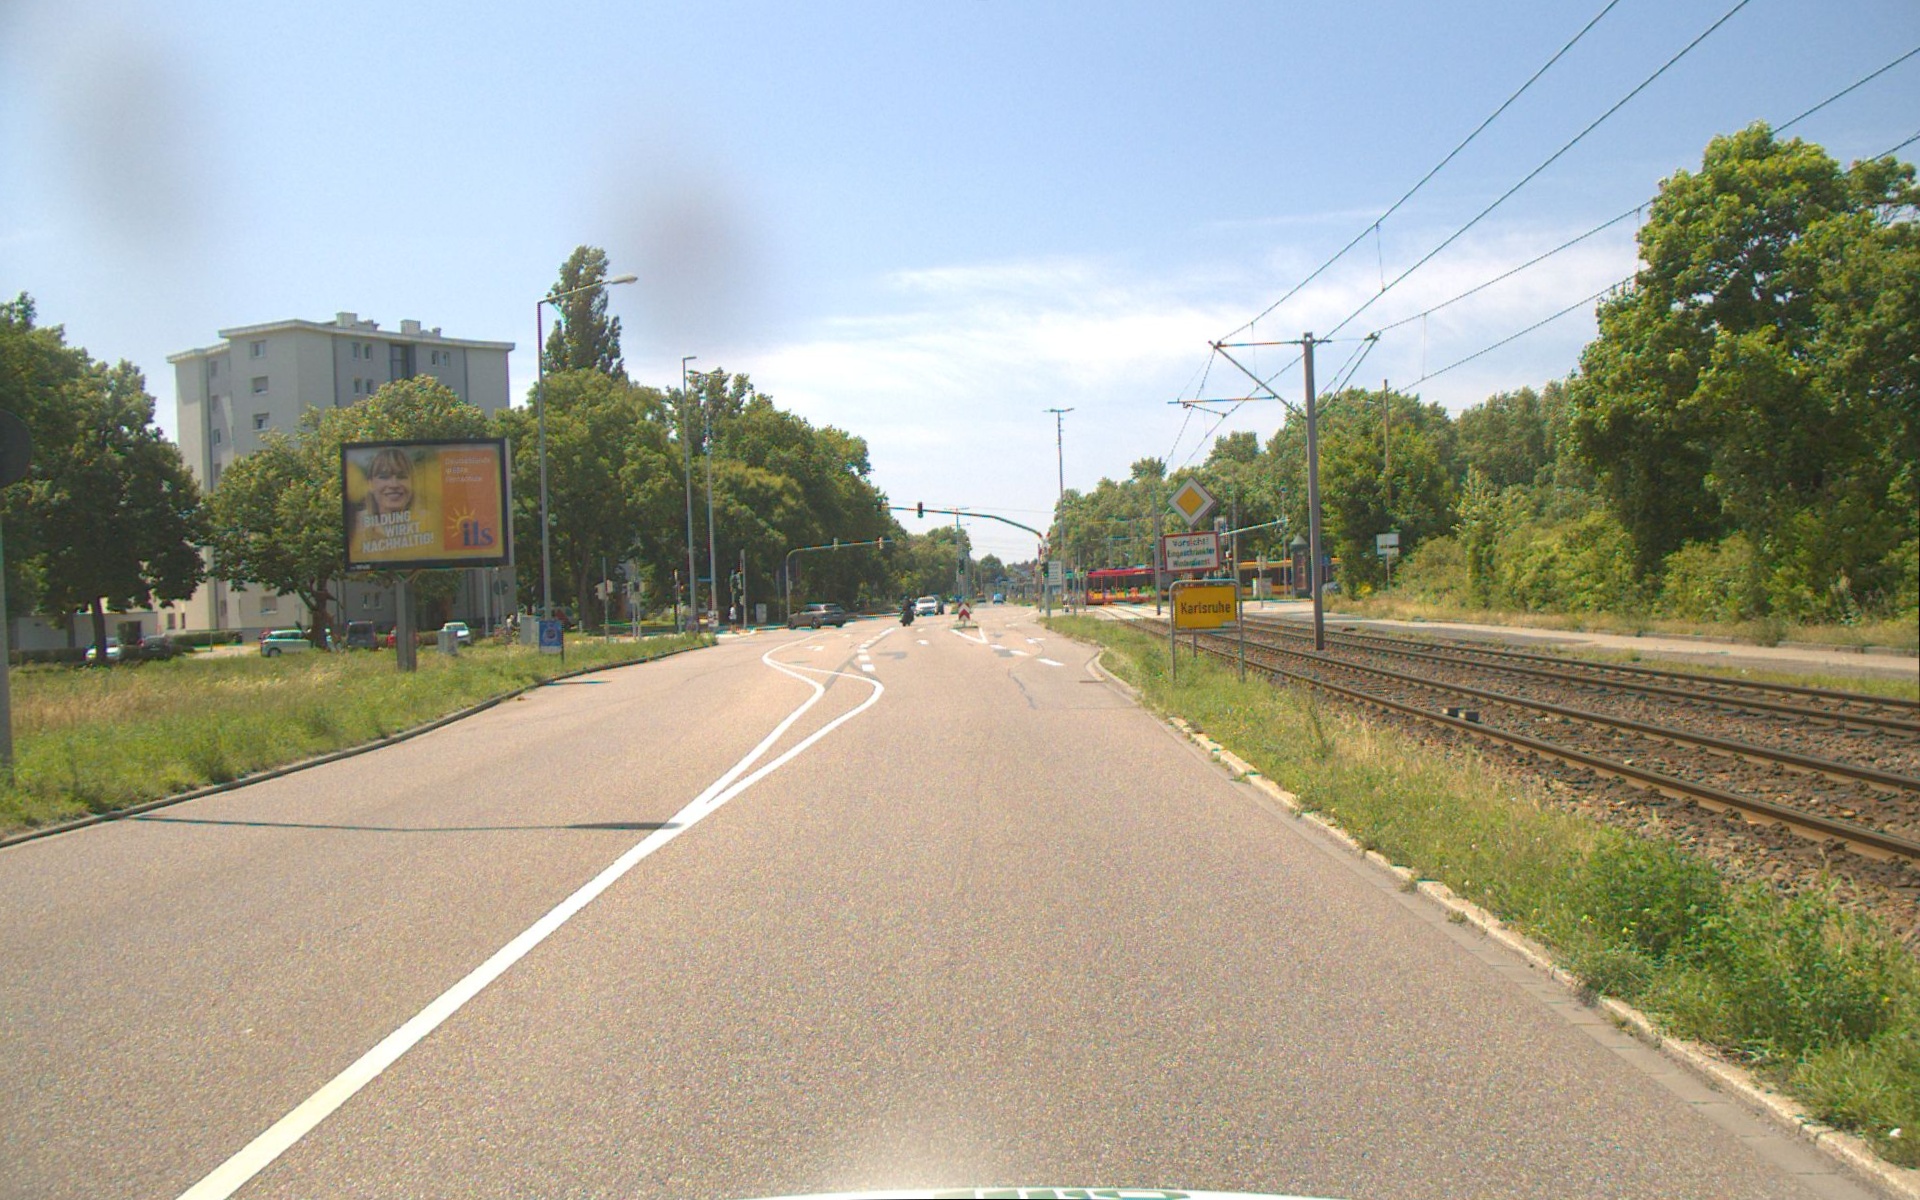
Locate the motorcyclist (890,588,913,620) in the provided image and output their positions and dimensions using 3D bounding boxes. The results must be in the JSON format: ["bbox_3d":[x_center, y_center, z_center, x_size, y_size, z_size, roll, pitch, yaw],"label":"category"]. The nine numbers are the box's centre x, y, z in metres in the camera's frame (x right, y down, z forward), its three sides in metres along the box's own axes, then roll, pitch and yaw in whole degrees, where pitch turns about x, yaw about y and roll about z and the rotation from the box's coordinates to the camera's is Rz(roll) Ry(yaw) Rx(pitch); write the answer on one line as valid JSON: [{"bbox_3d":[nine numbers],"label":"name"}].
[{"bbox_3d":[-3.094,0.200,87.497,0.773,1.671,1.211,-2,0,21],"label":"motorcyclist"}]

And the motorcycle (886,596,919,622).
[{"bbox_3d":[-3.046,0.470,87.602,0.829,1.277,2.449,-2,0,22],"label":"motorcycle"}]

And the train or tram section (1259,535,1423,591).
[{"bbox_3d":[33.478,-3.213,145.821,13.728,3.988,2.919,-3,-3,28],"label":"train or tram section"}]

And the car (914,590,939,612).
[{"bbox_3d":[-2.724,0.048,135.097,1.748,1.657,3.866,-3,0,1],"label":"car"}]

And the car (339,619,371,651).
[{"bbox_3d":[-36.604,2.071,100.061,1.680,1.832,3.974,-2,0,-21],"label":"car"}]

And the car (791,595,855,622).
[{"bbox_3d":[-8.047,0.507,96.719,1.888,1.525,4.581,-2,0,-31],"label":"car"}]

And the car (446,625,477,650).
[{"bbox_3d":[-30.943,2.318,102.634,1.600,1.404,3.975,-2,0,-20],"label":"car"}]

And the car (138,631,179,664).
[{"bbox_3d":[-46.789,2.752,96.642,1.820,1.741,3.974,-2,0,-21],"label":"car"}]

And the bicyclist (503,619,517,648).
[{"bbox_3d":[-24.806,1.838,91.189,0.654,1.564,0.627,-1,0,-22],"label":"bicyclist"}]

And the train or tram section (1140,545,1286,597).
[{"bbox_3d":[23.096,-2.605,151.866,13.173,3.879,2.915,-3,-3,33],"label":"train or tram section"}]

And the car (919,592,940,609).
[{"bbox_3d":[-2.612,0.023,142.440,1.675,1.389,3.866,-3,0,1],"label":"car"}]

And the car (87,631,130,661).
[{"bbox_3d":[-48.990,2.651,95.209,1.664,1.589,3.814,-3,0,-21],"label":"car"}]

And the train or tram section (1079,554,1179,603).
[{"bbox_3d":[16.181,-1.989,159.963,2.881,3.879,12.952,0,-3,-28],"label":"train or tram section"}]

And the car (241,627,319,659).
[{"bbox_3d":[-36.595,2.300,89.009,3.835,1.494,1.762,-2,0,-24],"label":"car"}]

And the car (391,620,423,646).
[{"bbox_3d":[-33.777,1.991,101.048,1.591,1.489,3.984,-2,0,-15],"label":"car"}]

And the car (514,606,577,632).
[{"bbox_3d":[-31.978,1.451,127.612,1.759,1.798,4.525,-3,0,40],"label":"car"}]

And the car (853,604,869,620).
[{"bbox_3d":[-13.515,1.623,225.766,1.953,2.049,3.998,1,-1,-2],"label":"car"}]

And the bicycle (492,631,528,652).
[{"bbox_3d":[-24.811,2.285,91.169,1.838,1.113,0.642,-1,0,-22],"label":"bicycle"}]
